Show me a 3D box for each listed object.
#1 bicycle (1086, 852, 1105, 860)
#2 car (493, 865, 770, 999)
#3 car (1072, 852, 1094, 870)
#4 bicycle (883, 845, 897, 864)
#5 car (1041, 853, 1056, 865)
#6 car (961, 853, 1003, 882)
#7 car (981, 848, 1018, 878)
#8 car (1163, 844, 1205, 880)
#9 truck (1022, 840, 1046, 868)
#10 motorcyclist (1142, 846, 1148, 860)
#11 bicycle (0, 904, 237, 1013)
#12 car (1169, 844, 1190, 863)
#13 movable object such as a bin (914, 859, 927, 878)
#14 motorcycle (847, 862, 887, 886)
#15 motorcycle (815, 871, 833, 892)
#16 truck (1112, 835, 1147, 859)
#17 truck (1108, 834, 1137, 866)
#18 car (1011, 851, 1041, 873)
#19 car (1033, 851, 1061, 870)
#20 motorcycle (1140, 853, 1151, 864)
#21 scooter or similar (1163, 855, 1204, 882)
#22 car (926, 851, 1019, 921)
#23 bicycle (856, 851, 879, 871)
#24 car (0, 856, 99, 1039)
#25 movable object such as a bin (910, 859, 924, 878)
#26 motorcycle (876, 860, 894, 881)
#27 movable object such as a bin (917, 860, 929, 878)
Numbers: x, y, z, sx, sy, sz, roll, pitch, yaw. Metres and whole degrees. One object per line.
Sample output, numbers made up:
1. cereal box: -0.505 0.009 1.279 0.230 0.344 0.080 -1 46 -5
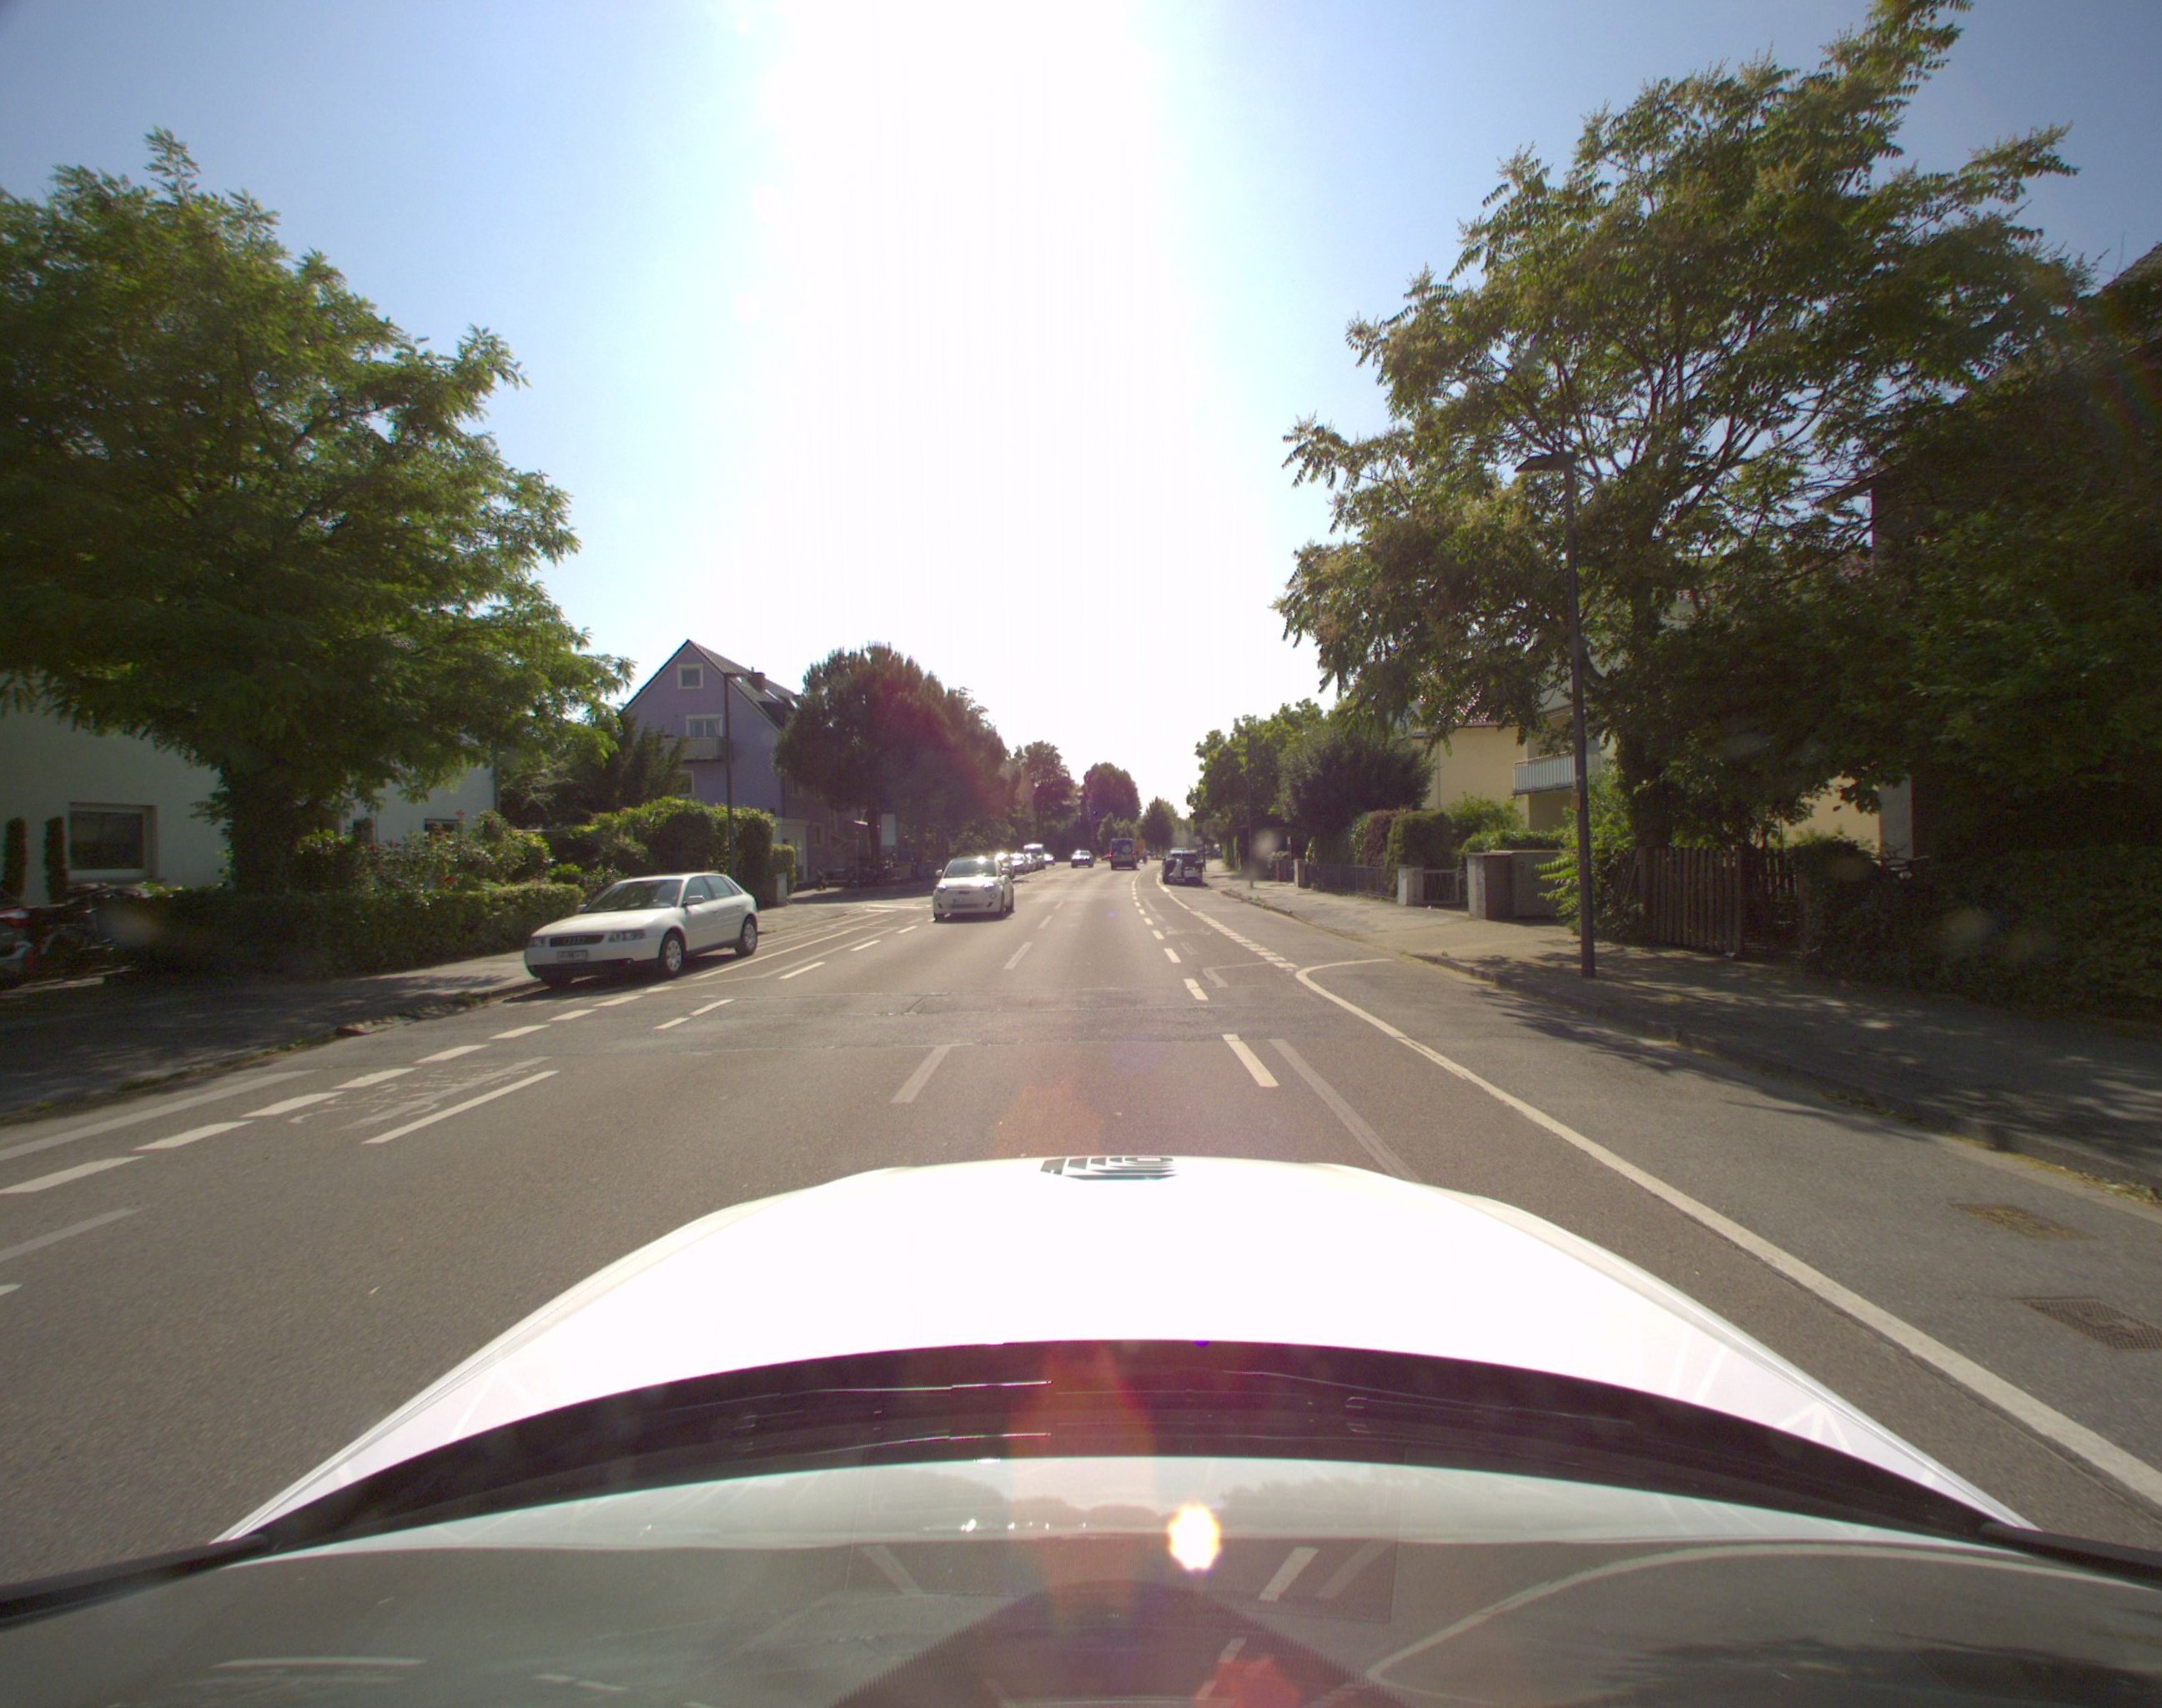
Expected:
1. bicycle: 2.088 0.321 119.654 2.685 1.047 1.024 -2 0 -7
2. car: -6.395 1.007 12.212 1.779 1.440 4.000 -5 0 1
3. car: 0.253 0.707 81.806 1.986 1.657 4.607 -2 0 2
4. bicycle: -12.375 0.045 52.816 0.535 1.182 1.446 -2 0 0
5. car: -4.049 0.608 102.256 1.749 1.343 3.653 -2 0 0
6. car: -5.610 0.738 46.548 1.775 1.460 4.086 -3 0 0
7. car: -5.181 0.535 52.369 1.903 1.676 4.257 -4 1 -1
8. car: 5.109 0.347 39.876 1.773 1.638 4.483 0 0 10
9. truck: -4.606 -0.014 80.593 2.075 2.537 5.464 -2 0 -1
10. motorcyclist: 6.958 -0.089 88.718 0.669 1.518 0.653 -2 0 3
11. bicycle: -13.536 1.411 11.550 0.688 1.208 2.252 -2 0 2
12. car: 8.982 -0.063 74.382 1.693 1.677 3.779 -2 0 4
13. movable object such as a bin: -9.648 0.870 48.954 0.602 1.111 0.432 -2 0 7
14. motorcycle: -11.011 1.024 41.931 1.830 1.182 0.644 -2 0 6
15. motorcycle: -12.965 1.368 41.083 0.643 0.990 2.339 -2 0 -22
16. truck: 6.320 -0.849 106.562 2.223 2.946 5.644 -2 0 -22
17. truck: 3.556 -0.312 69.236 2.262 2.571 4.397 -2 0 4
18. car: -4.200 0.616 63.073 1.827 1.595 3.777 -2 0 3
19. car: -2.864 0.555 69.543 1.826 1.496 3.659 -2 0 5
20. motorcycle: 6.997 0.459 88.746 1.052 1.122 2.993 -2 0 2
21. scooter or similar: 4.680 0.647 37.187 0.724 1.154 1.775 2 0 -44
22. car: -2.692 0.754 21.049 1.726 1.541 4.000 -3 0 1
23. bicycle: -13.547 0.455 51.772 0.532 1.181 1.455 -1 2 26
24. car: -12.464 0.973 7.672 3.972 1.759 2.001 -2 1 1
25. movable object such as a bin: -9.726 0.880 48.374 0.602 1.111 0.664 -2 0 7
26. motorcycle: -11.386 0.959 47.333 0.534 1.182 1.449 -2 0 7
27. movable object such as a bin: -9.563 0.908 49.279 0.541 1.111 0.586 -2 0 7
